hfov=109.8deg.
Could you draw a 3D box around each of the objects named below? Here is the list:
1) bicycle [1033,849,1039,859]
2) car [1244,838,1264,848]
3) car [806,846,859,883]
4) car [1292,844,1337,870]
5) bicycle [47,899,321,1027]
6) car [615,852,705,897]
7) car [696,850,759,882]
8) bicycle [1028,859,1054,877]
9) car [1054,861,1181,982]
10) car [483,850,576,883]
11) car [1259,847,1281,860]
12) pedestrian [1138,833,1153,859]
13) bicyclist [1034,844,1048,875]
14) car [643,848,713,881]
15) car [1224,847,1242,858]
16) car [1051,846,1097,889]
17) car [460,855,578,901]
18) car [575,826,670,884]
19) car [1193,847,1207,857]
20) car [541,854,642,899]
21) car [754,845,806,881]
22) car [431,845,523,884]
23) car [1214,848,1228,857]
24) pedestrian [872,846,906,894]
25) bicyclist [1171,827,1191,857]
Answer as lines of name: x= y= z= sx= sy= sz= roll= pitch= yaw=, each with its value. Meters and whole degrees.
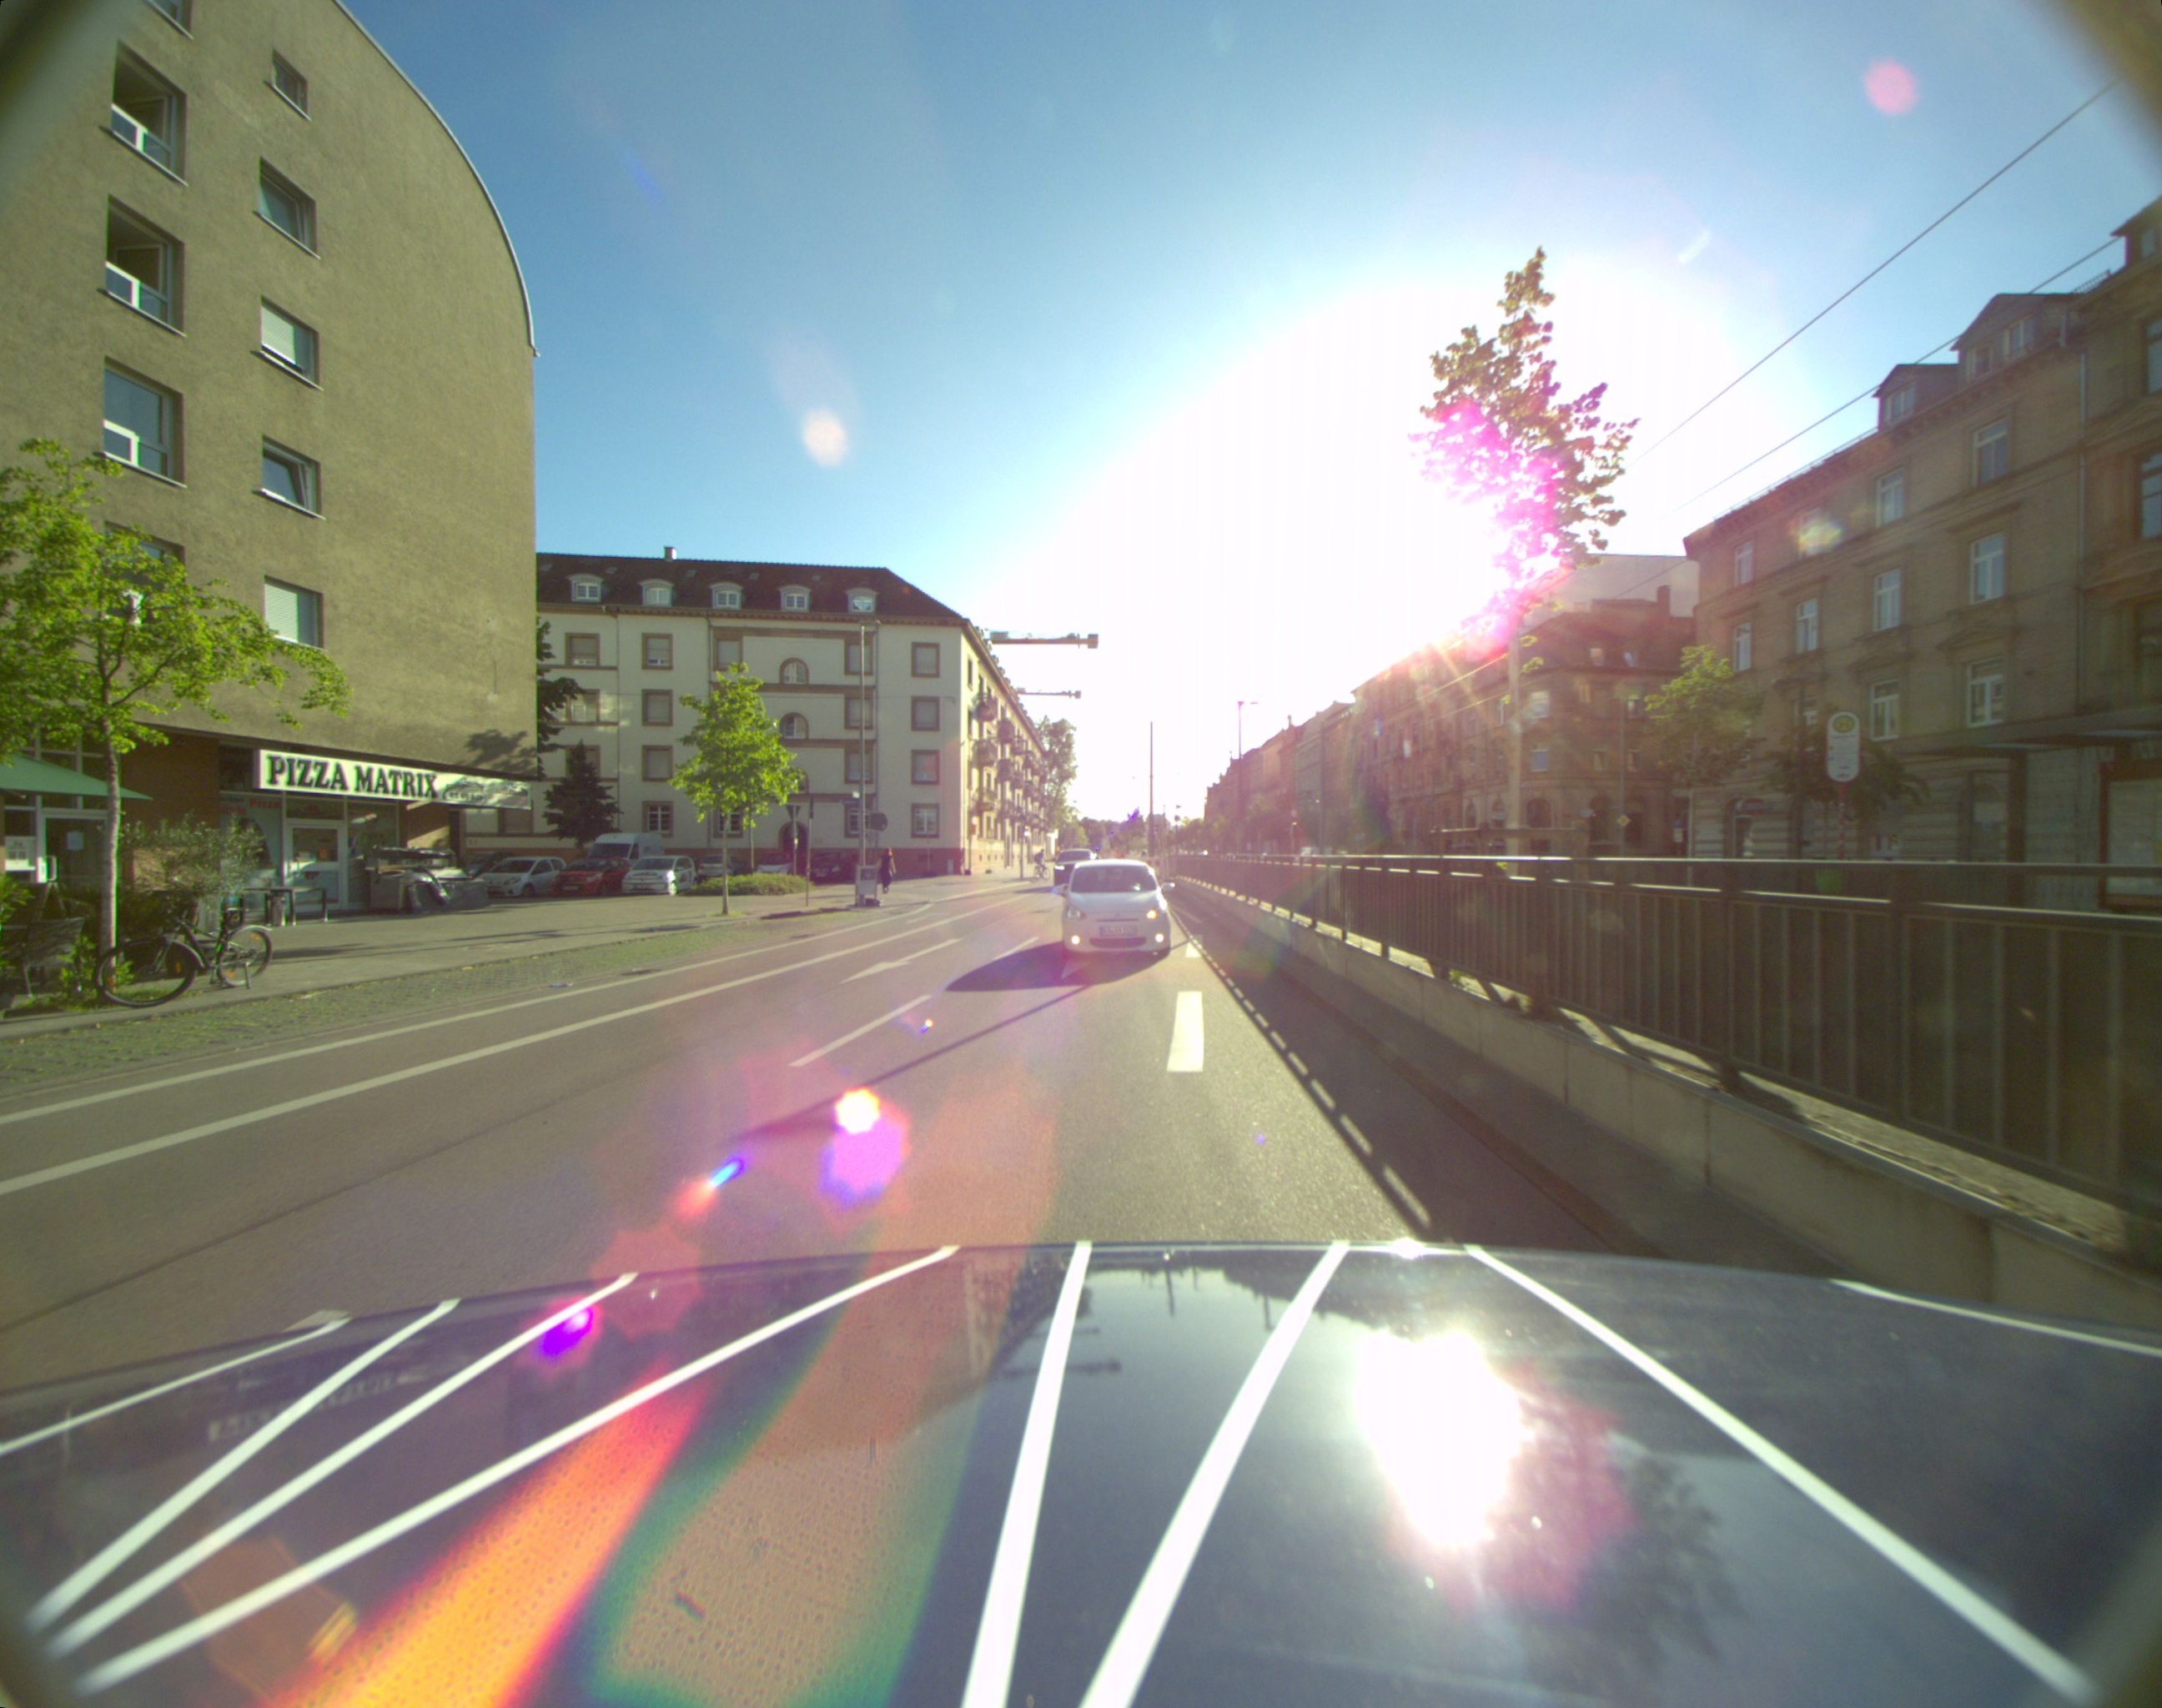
bicycle: x=-5.206 y=0.022 z=88.023 sx=0.419 sy=1.089 sz=2.198 roll=0 pitch=1 yaw=2
car: x=25.504 y=-1.615 z=112.081 sx=1.998 sy=1.430 sz=4.308 roll=-1 pitch=0 yaw=1
car: x=-13.053 y=0.508 z=40.119 sx=1.697 sy=1.677 sz=4.436 roll=-2 pitch=2 yaw=-6
car: x=18.610 y=0.208 z=60.750 sx=1.999 sy=1.869 sz=4.582 roll=-2 pitch=0 yaw=-1
bicycle: x=-10.104 y=1.170 z=8.711 sx=0.767 sy=1.075 sz=1.997 roll=5 pitch=2 yaw=-2
car: x=-15.397 y=0.713 z=27.989 sx=1.668 sy=1.466 sz=3.833 roll=-2 pitch=0 yaw=-10
car: x=-18.246 y=0.597 z=39.415 sx=1.698 sy=1.421 sz=4.435 roll=-2 pitch=2 yaw=-9
bicycle: x=-2.294 y=0.772 z=43.556 sx=0.771 sy=0.947 sz=2.193 roll=0 pitch=1 yaw=-24
car: x=0.552 y=0.905 z=12.149 sx=1.634 sy=1.499 sz=4.350 roll=-1 pitch=0 yaw=2
car: x=-27.135 y=0.564 z=37.542 sx=1.695 sy=1.482 sz=3.999 roll=-2 pitch=0 yaw=-1
car: x=24.863 y=-0.047 z=100.174 sx=1.942 sy=1.649 sz=4.545 roll=-2 pitch=0 yaw=3
pedestrian: x=3.583 y=-0.437 z=42.252 sx=0.791 sy=1.449 sz=0.946 roll=0 pitch=1 yaw=0
bicyclist: x=-2.300 y=0.297 z=43.474 sx=0.734 sy=1.753 sz=0.937 roll=0 pitch=1 yaw=1
car: x=-20.739 y=0.492 z=39.299 sx=1.698 sy=1.470 sz=4.435 roll=-2 pitch=2 yaw=-8
car: x=24.529 y=-0.225 z=122.649 sx=1.998 sy=1.688 sz=4.888 roll=-2 pitch=0 yaw=1
car: x=-0.263 y=0.547 z=33.939 sx=1.899 sy=1.730 sz=4.000 roll=-2 pitch=0 yaw=1
car: x=-20.039 y=0.794 z=27.314 sx=1.637 sy=1.446 sz=3.732 roll=-2 pitch=0 yaw=-5
car: x=-22.874 y=-0.073 z=38.202 sx=1.929 sy=2.595 sz=5.955 roll=0 pitch=3 yaw=-9
car: x=19.645 y=-0.286 z=125.520 sx=1.800 sy=1.630 sz=4.477 roll=0 pitch=1 yaw=2
car: x=-17.644 y=0.761 z=27.599 sx=1.637 sy=1.444 sz=3.653 roll=-2 pitch=0 yaw=-8
car: x=-15.756 y=0.407 z=40.016 sx=1.629 sy=1.677 sz=4.434 roll=-1 pitch=2 yaw=-10
car: x=-29.609 y=0.488 z=37.426 sx=1.543 sy=1.729 sz=3.998 roll=-2 pitch=0 yaw=-5
car: x=24.999 y=-0.230 z=135.604 sx=1.753 sy=1.471 sz=4.028 roll=-2 pitch=0 yaw=2
pedestrian: x=-7.363 y=0.607 z=29.174 sx=0.885 sy=1.754 sz=1.106 roll=2 pitch=2 yaw=11
bicyclist: x=5.983 y=-0.708 z=45.395 sx=0.886 sy=1.763 sz=0.854 roll=-1 pitch=1 yaw=-24
